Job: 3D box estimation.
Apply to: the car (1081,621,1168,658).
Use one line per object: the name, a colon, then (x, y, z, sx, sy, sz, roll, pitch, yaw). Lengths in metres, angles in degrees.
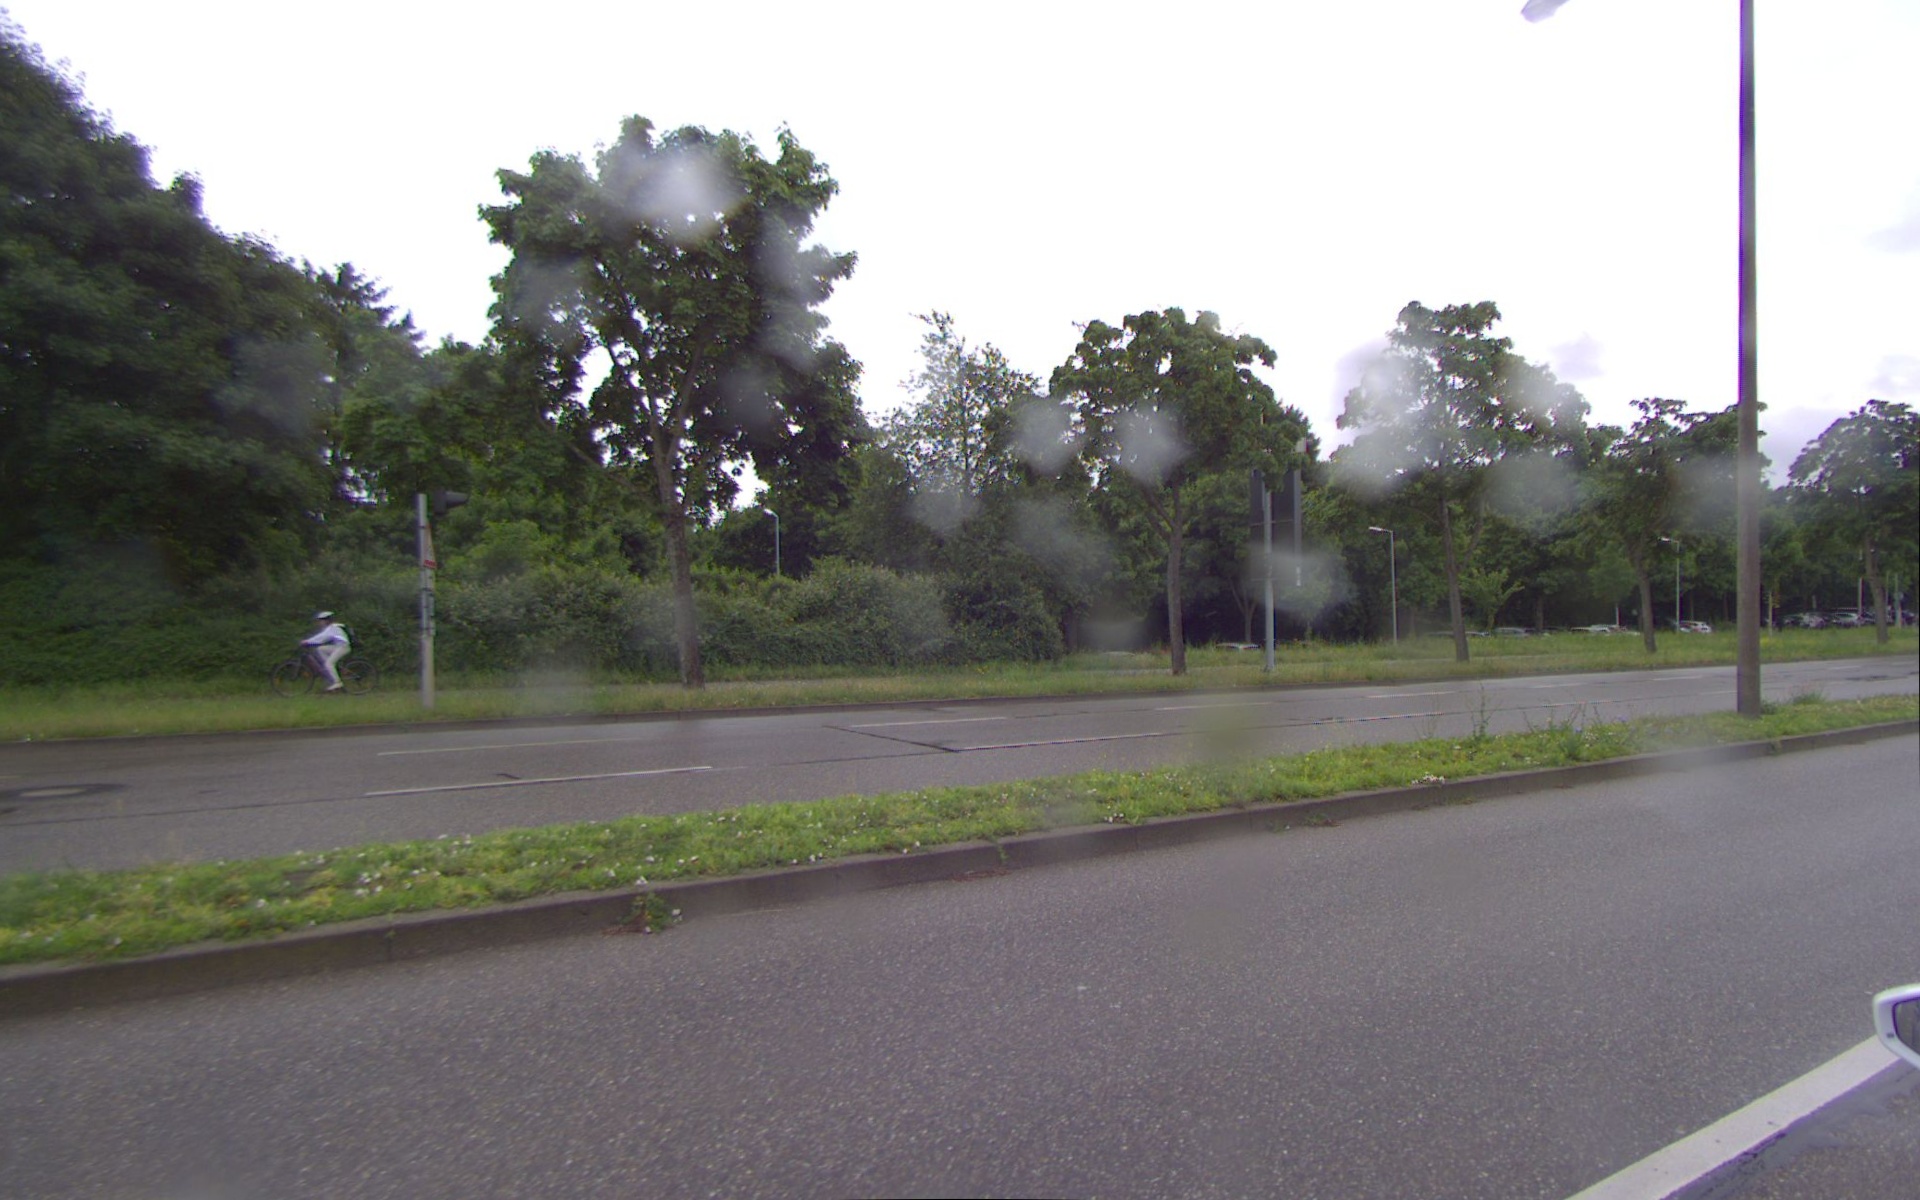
car: (8.022, 1.908, 49.145, 1.981, 1.707, 3.958, 0, -1, -37)

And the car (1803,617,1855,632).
car: (89.163, 2.499, 103.119, 1.510, 1.471, 3.808, 0, -1, -37)

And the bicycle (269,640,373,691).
bicycle: (-11.972, 1.214, 18.877, 1.614, 0.897, 0.519, 1, 0, -30)

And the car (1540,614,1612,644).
car: (43.991, 2.028, 71.813, 1.981, 2.040, 3.958, 0, -1, -37)

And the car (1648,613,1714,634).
car: (58.259, 1.911, 81.184, 1.894, 1.662, 3.958, 0, -1, -37)

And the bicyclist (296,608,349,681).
bicyclist: (-11.961, 0.826, 18.875, 0.798, 1.320, 0.519, 1, 0, -30)

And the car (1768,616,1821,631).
car: (82.459, 2.331, 99.287, 1.510, 1.471, 3.808, 0, -1, -37)

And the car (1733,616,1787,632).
car: (74.208, 2.193, 93.236, 1.474, 1.445, 3.707, 0, -1, -37)

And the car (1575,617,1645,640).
car: (48.129, 2.109, 74.430, 1.981, 1.639, 3.958, 0, -1, -37)

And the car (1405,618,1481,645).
car: (31.144, 2.004, 64.841, 1.981, 1.726, 3.958, 0, -1, -37)

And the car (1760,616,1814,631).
car: (80.355, 2.276, 97.656, 1.510, 1.471, 3.808, 0, -1, -37)

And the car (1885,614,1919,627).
car: (111.365, 2.439, 118.112, 3.794, 1.471, 1.516, -1, -1, 43)
